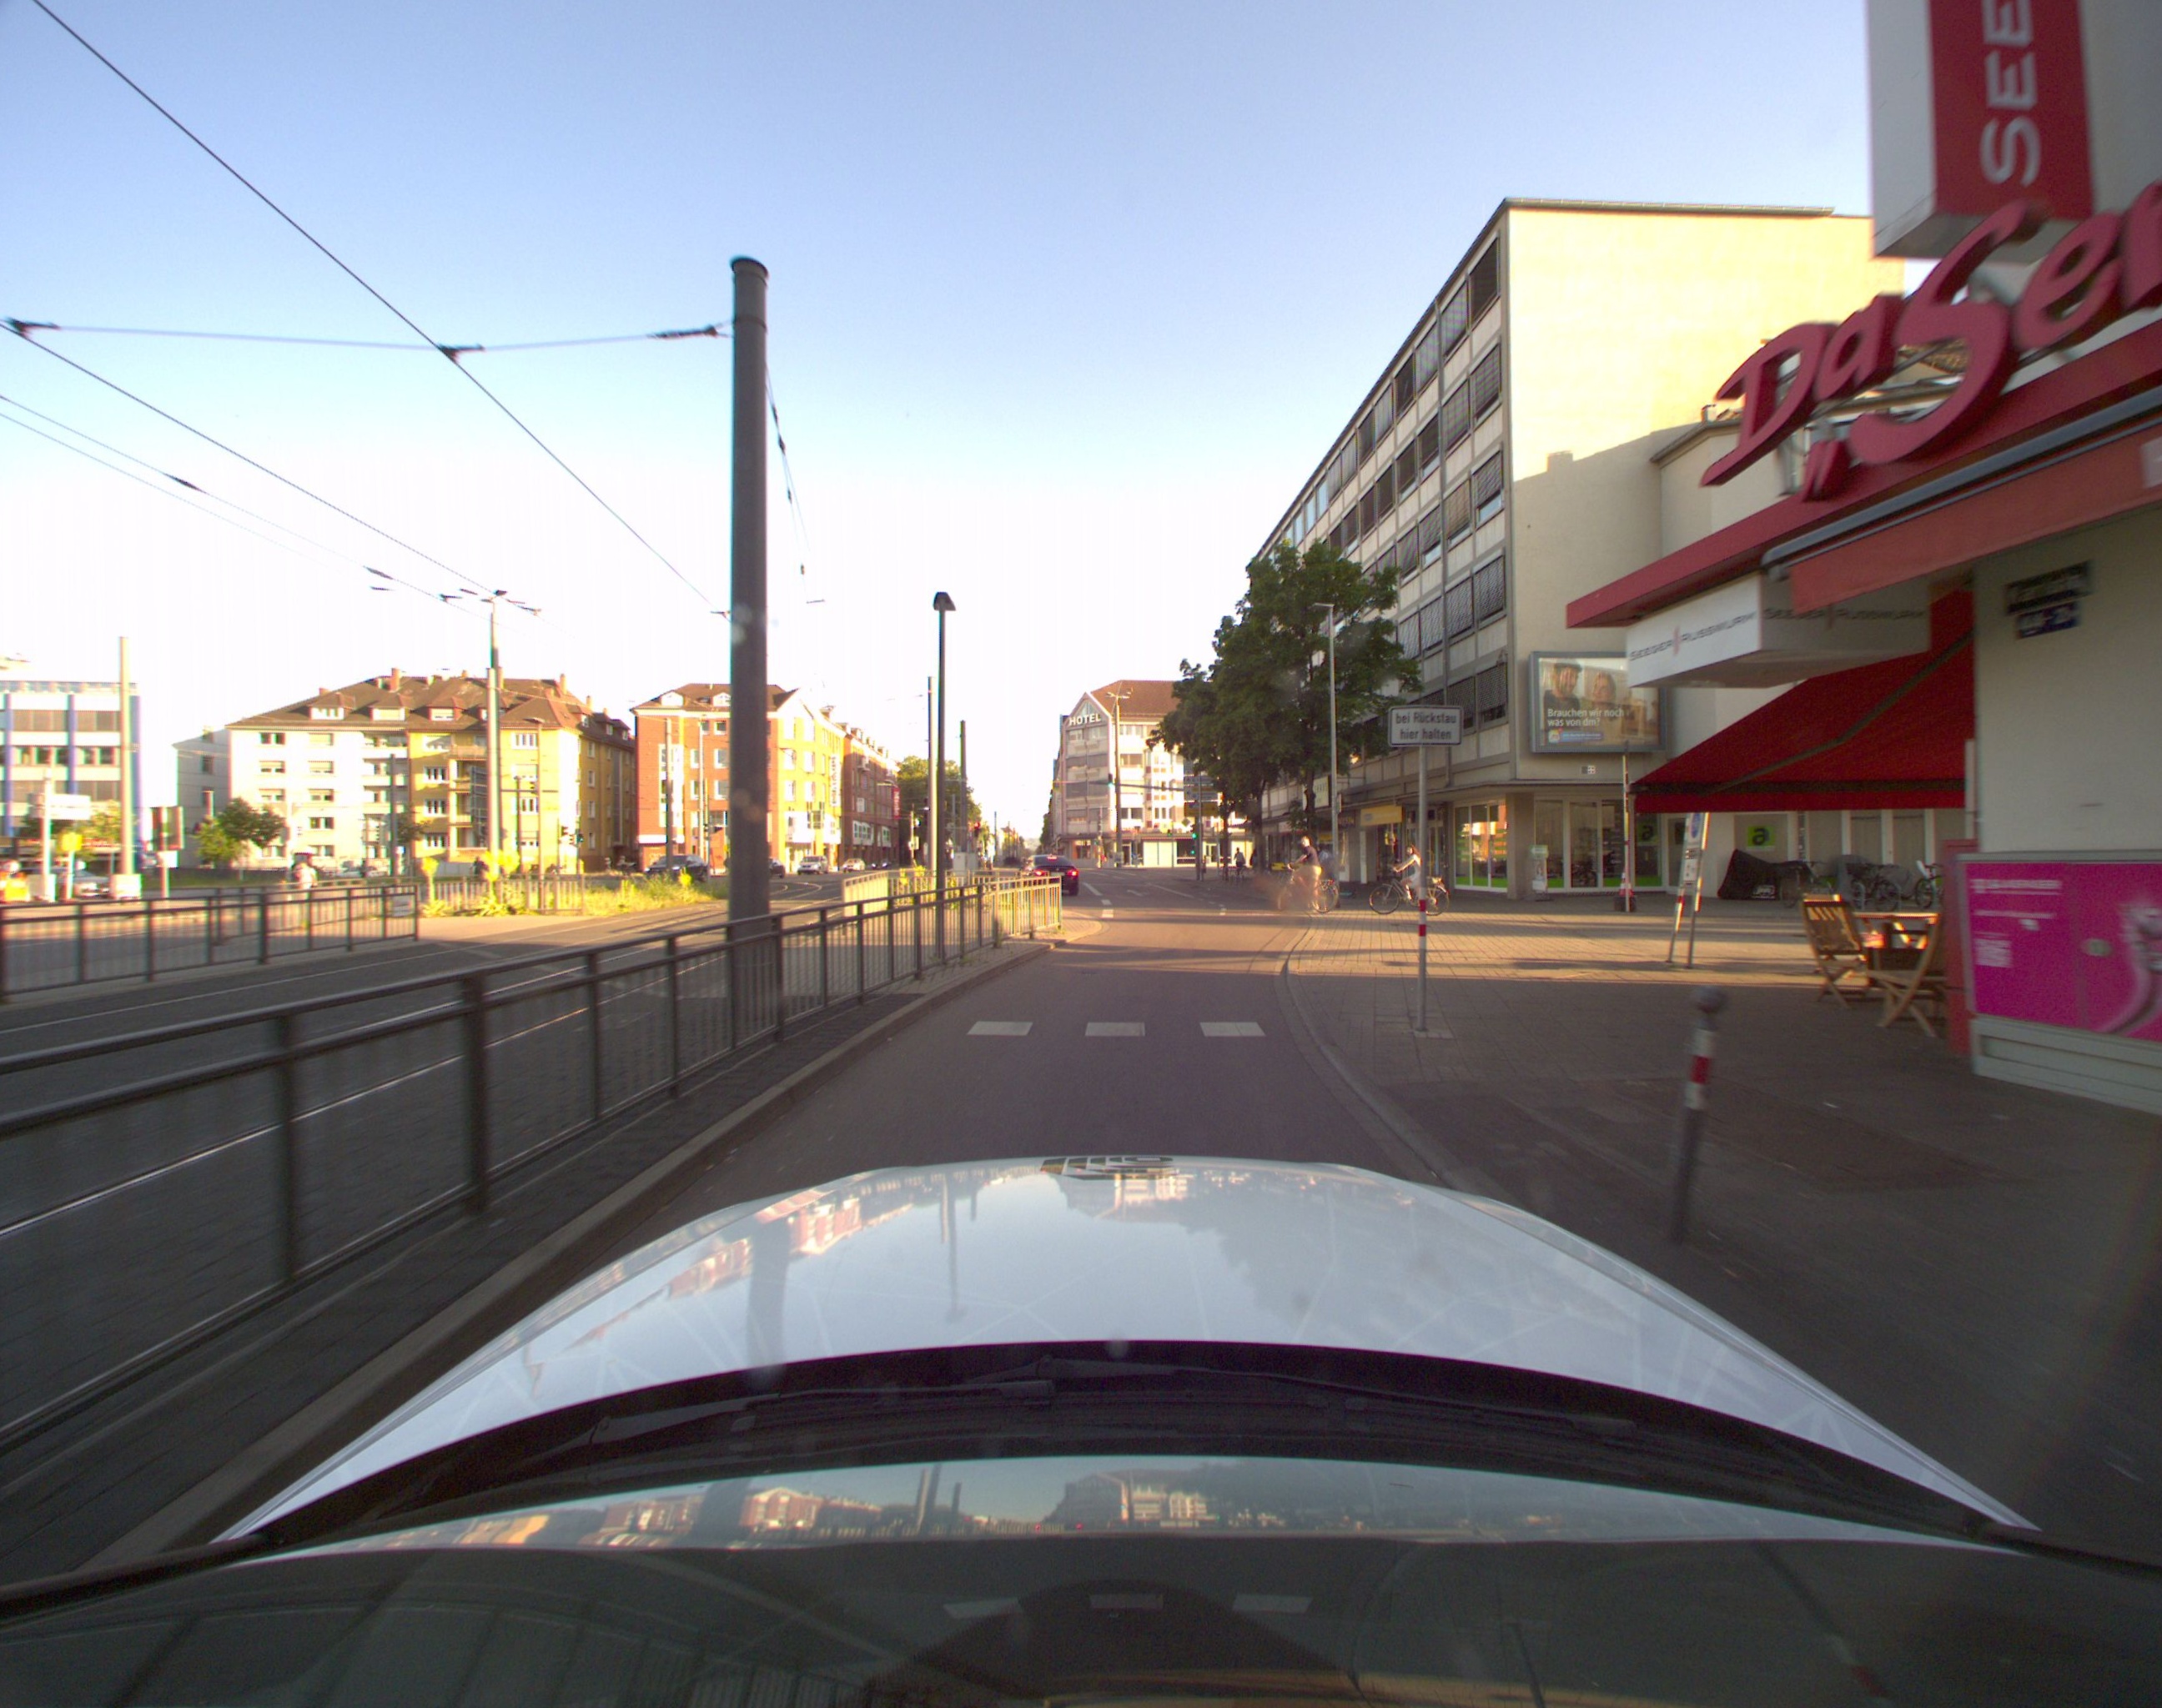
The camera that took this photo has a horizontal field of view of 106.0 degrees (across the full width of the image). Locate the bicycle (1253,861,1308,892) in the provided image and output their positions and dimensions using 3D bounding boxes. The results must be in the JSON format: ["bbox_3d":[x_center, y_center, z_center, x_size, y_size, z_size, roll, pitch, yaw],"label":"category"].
[{"bbox_3d":[7.537,0.848,30.805,1.984,1.110,0.670,-1,0,9],"label":"bicycle"}]

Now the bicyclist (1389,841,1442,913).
[{"bbox_3d":[7.756,0.530,18.938,1.102,1.623,0.845,-1,0,20],"label":"bicyclist"}]

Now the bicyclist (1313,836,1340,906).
[{"bbox_3d":[6.587,0.445,21.846,0.465,1.830,0.557,-1,0,-11],"label":"bicyclist"}]

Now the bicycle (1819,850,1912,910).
[{"bbox_3d":[17.584,0.555,18.319,0.696,1.220,2.124,-1,1,19],"label":"bicycle"}]

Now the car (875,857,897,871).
[{"bbox_3d":[-24.673,1.262,103.087,1.991,1.585,4.470,-1,0,-5],"label":"car"}]

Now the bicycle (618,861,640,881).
[{"bbox_3d":[-31.972,1.203,57.629,0.617,1.325,2.011,1,0,-7],"label":"bicycle"}]

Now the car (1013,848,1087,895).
[{"bbox_3d":[-1.232,0.604,30.390,1.996,1.585,3.982,-1,0,-13],"label":"car"}]

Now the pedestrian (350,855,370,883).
[{"bbox_3d":[-48.944,1.036,55.289,0.722,1.868,0.878,-1,0,-23],"label":"pedestrian"}]

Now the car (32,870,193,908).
[{"bbox_3d":[-46.877,1.665,39.565,4.574,1.618,1.983,-1,0,-26],"label":"car"}]

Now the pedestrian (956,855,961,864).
[{"bbox_3d":[-22.431,0.968,148.697,0.721,1.681,0.990,-1,0,-1],"label":"pedestrian"}]

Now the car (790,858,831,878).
[{"bbox_3d":[-22.600,1.152,68.120,1.987,1.585,4.114,-1,0,1],"label":"car"}]

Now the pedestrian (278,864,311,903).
[{"bbox_3d":[-39.792,1.479,41.210,0.845,1.910,0.890,-1,0,-14],"label":"pedestrian"}]

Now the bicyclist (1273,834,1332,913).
[{"bbox_3d":[5.523,0.464,20.317,0.845,1.917,1.102,-1,0,-40],"label":"bicyclist"}]

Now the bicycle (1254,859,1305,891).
[{"bbox_3d":[7.728,0.814,31.771,1.893,1.235,0.669,-1,0,7],"label":"bicycle"}]

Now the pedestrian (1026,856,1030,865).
[{"bbox_3d":[-12.723,1.512,195.847,0.912,2.013,0.885,-1,0,-4],"label":"pedestrian"}]

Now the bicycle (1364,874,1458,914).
[{"bbox_3d":[7.655,0.921,18.975,1.989,0.881,0.845,-1,-1,20],"label":"bicycle"}]

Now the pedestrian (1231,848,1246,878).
[{"bbox_3d":[8.721,0.492,45.036,0.682,1.667,0.671,-1,0,0],"label":"pedestrian"}]

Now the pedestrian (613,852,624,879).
[{"bbox_3d":[-32.492,0.825,57.198,0.502,1.868,0.561,1,-1,-8],"label":"pedestrian"}]

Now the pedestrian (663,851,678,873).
[{"bbox_3d":[-35.549,0.677,70.538,0.941,1.868,0.835,1,0,-12],"label":"pedestrian"}]

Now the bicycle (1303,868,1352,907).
[{"bbox_3d":[6.595,0.872,21.847,0.464,0.970,1.793,-1,0,-11],"label":"bicycle"}]

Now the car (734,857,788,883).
[{"bbox_3d":[-21.143,1.001,54.082,1.989,1.585,4.581,-1,0,-4],"label":"car"}]

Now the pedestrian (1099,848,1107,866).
[{"bbox_3d":[2.173,0.304,82.074,0.684,1.854,0.669,-1,-1,-7],"label":"pedestrian"}]

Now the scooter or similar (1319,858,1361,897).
[{"bbox_3d":[8.397,0.754,26.414,1.261,1.235,0.340,-1,0,39],"label":"scooter or similar"}]

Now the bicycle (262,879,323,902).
[{"bbox_3d":[-39.793,1.826,41.140,2.006,1.060,0.890,-1,0,-15],"label":"bicycle"}]

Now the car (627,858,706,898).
[{"bbox_3d":[-21.426,1.166,42.360,1.991,1.901,4.802,-1,0,-6],"label":"car"}]

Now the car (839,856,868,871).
[{"bbox_3d":[-24.186,0.986,86.673,1.662,1.448,4.204,-1,0,2],"label":"car"}]

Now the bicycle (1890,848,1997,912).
[{"bbox_3d":[18.702,0.532,17.736,0.696,1.220,2.124,-1,3,19],"label":"bicycle"}]

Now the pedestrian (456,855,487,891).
[{"bbox_3d":[-33.498,1.032,44.786,1.101,1.944,1.017,-1,0,-22],"label":"pedestrian"}]

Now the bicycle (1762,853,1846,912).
[{"bbox_3d":[16.559,0.621,18.726,0.696,1.220,2.124,-1,1,19],"label":"bicycle"}]

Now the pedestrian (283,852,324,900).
[{"bbox_3d":[-31.059,0.869,32.561,0.886,1.868,0.968,-1,0,-24],"label":"pedestrian"}]

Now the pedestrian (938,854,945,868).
[{"bbox_3d":[-21.199,1.067,123.598,0.986,2.014,0.725,1,-1,-5],"label":"pedestrian"}]

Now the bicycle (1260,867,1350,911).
[{"bbox_3d":[5.555,0.851,20.296,0.845,1.020,2.053,-1,0,-40],"label":"bicycle"}]

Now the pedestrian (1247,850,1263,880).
[{"bbox_3d":[9.709,0.613,45.432,0.720,1.667,0.671,-1,0,0],"label":"pedestrian"}]
